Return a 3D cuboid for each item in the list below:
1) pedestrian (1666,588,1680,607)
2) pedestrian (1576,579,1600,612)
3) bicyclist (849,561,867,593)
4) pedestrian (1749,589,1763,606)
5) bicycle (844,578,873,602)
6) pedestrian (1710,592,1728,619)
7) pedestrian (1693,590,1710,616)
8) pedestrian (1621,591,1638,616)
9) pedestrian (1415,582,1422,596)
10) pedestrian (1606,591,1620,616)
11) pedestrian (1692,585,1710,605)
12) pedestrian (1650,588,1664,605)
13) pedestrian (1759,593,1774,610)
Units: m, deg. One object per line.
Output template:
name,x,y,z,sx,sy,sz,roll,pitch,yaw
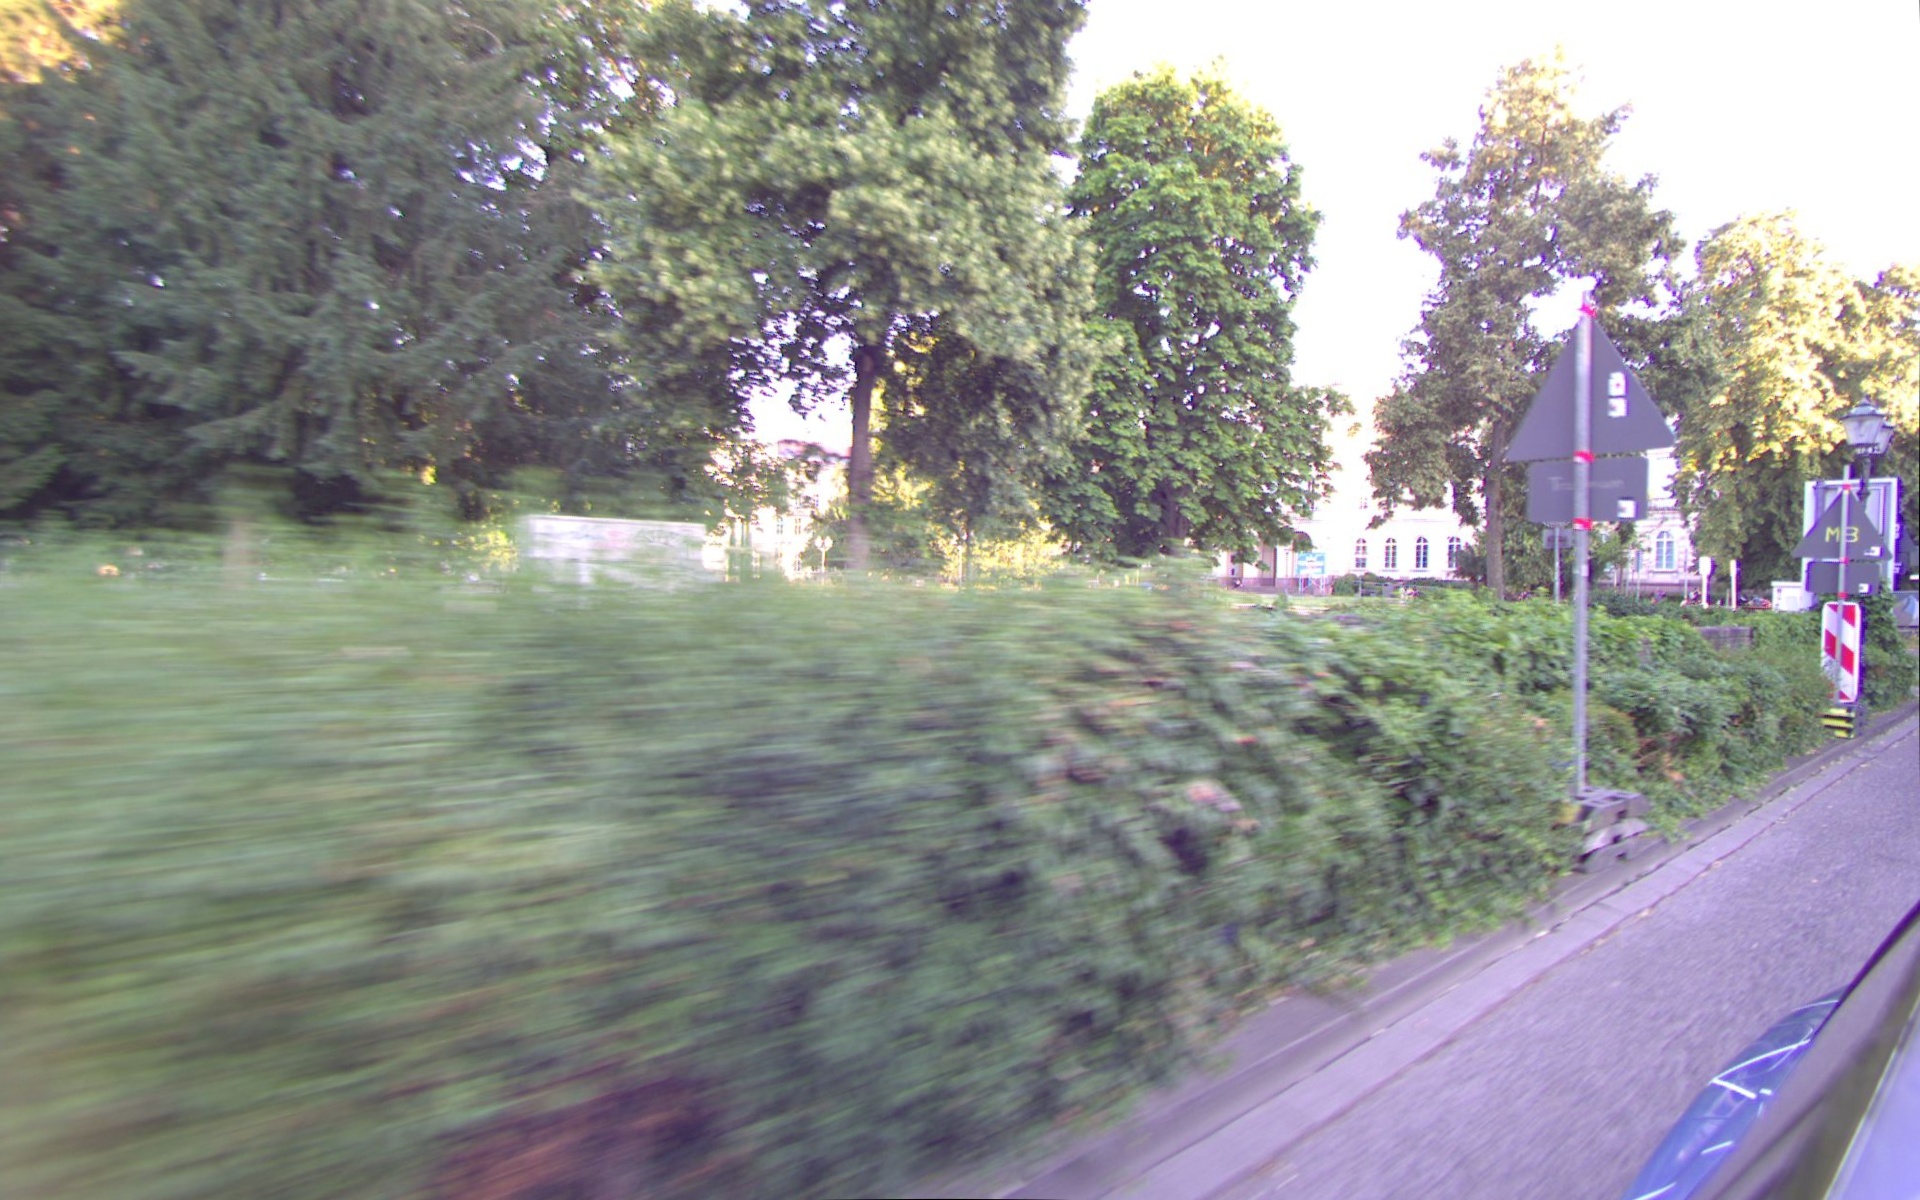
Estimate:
pedestrian,47.098,-0.152,66.864,0.594,1.217,0.394,1,1,9
pedestrian,31.602,-0.231,50.897,0.857,1.646,0.745,2,1,45
bicyclist,-5.291,-1.205,52.602,0.648,1.652,0.676,0,1,-43
pedestrian,50.895,-0.182,64.716,0.596,1.064,0.393,1,1,16
bicycle,-5.273,-0.537,52.581,0.556,1.191,1.771,0,2,-43
pedestrian,36.260,0.259,48.359,0.606,1.219,0.656,2,1,43
pedestrian,35.740,0.140,48.778,0.526,1.219,0.955,2,1,43
pedestrian,33.698,0.189,50.914,0.606,1.229,0.656,2,1,43
pedestrian,44.315,-1.093,97.830,0.499,1.304,0.583,2,1,43
pedestrian,33.162,0.160,51.384,0.499,1.229,0.583,2,1,43
pedestrian,53.141,-0.364,72.558,0.742,1.462,0.815,1,1,15
pedestrian,46.135,-0.237,66.963,0.593,1.123,0.395,1,1,4
pedestrian,51.063,0.077,64.051,0.595,1.064,0.394,1,1,13
